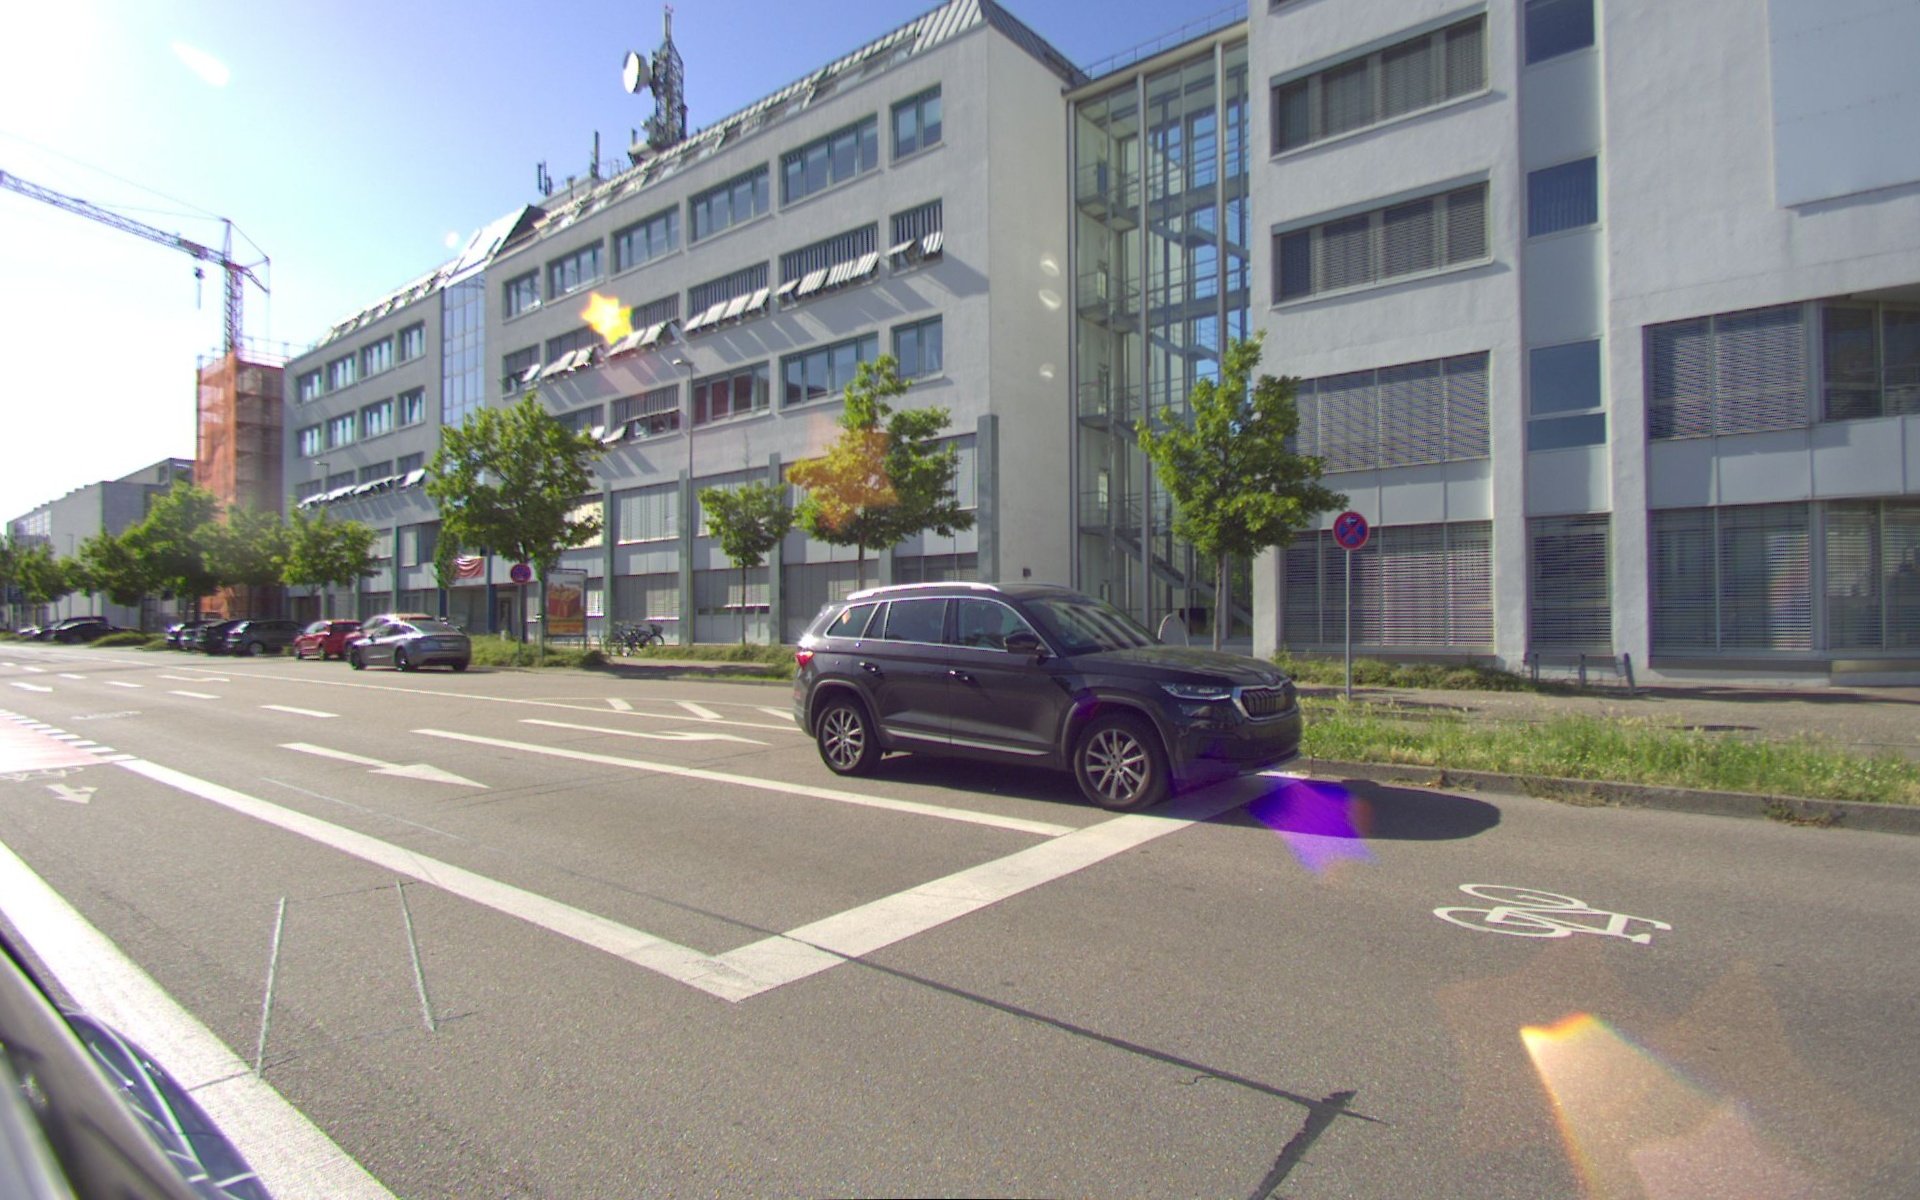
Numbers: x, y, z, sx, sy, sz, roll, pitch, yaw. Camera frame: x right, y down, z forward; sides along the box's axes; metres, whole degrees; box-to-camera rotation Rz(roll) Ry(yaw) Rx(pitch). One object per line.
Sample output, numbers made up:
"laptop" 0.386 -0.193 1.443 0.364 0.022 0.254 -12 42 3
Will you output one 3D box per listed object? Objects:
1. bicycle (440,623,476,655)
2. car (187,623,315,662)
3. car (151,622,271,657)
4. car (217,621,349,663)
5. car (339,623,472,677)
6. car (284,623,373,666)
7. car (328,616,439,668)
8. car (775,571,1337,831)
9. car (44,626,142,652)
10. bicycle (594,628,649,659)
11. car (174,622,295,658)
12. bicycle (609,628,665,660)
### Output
"bicycle" -21.772 1.695 43.901 0.701 1.357 2.233 3 -3 -45
"car" -31.420 1.865 44.963 1.690 1.442 4.346 -2 1 36
"car" -36.319 1.867 49.187 1.688 1.442 4.353 -2 0 31
"car" -28.861 1.756 43.282 1.689 1.549 4.348 -2 1 35
"car" -16.251 1.424 29.578 4.539 1.479 1.672 -2 -3 37
"car" -23.668 1.626 37.902 3.868 1.442 1.671 -1 0 40
"car" -19.848 1.428 34.790 4.302 1.619 1.673 -2 0 37
"car" 0.597 0.664 8.498 4.473 1.640 1.736 -1 0 39
"car" -55.001 2.450 64.263 1.973 1.442 4.347 -2 1 36
"bicycle" -11.842 1.528 35.461 1.746 1.077 0.556 2 -3 -43
"car" -34.337 1.854 48.006 1.690 1.442 4.346 -2 1 36
"bicycle" -11.179 1.514 35.063 1.767 1.077 0.622 2 -3 -43
